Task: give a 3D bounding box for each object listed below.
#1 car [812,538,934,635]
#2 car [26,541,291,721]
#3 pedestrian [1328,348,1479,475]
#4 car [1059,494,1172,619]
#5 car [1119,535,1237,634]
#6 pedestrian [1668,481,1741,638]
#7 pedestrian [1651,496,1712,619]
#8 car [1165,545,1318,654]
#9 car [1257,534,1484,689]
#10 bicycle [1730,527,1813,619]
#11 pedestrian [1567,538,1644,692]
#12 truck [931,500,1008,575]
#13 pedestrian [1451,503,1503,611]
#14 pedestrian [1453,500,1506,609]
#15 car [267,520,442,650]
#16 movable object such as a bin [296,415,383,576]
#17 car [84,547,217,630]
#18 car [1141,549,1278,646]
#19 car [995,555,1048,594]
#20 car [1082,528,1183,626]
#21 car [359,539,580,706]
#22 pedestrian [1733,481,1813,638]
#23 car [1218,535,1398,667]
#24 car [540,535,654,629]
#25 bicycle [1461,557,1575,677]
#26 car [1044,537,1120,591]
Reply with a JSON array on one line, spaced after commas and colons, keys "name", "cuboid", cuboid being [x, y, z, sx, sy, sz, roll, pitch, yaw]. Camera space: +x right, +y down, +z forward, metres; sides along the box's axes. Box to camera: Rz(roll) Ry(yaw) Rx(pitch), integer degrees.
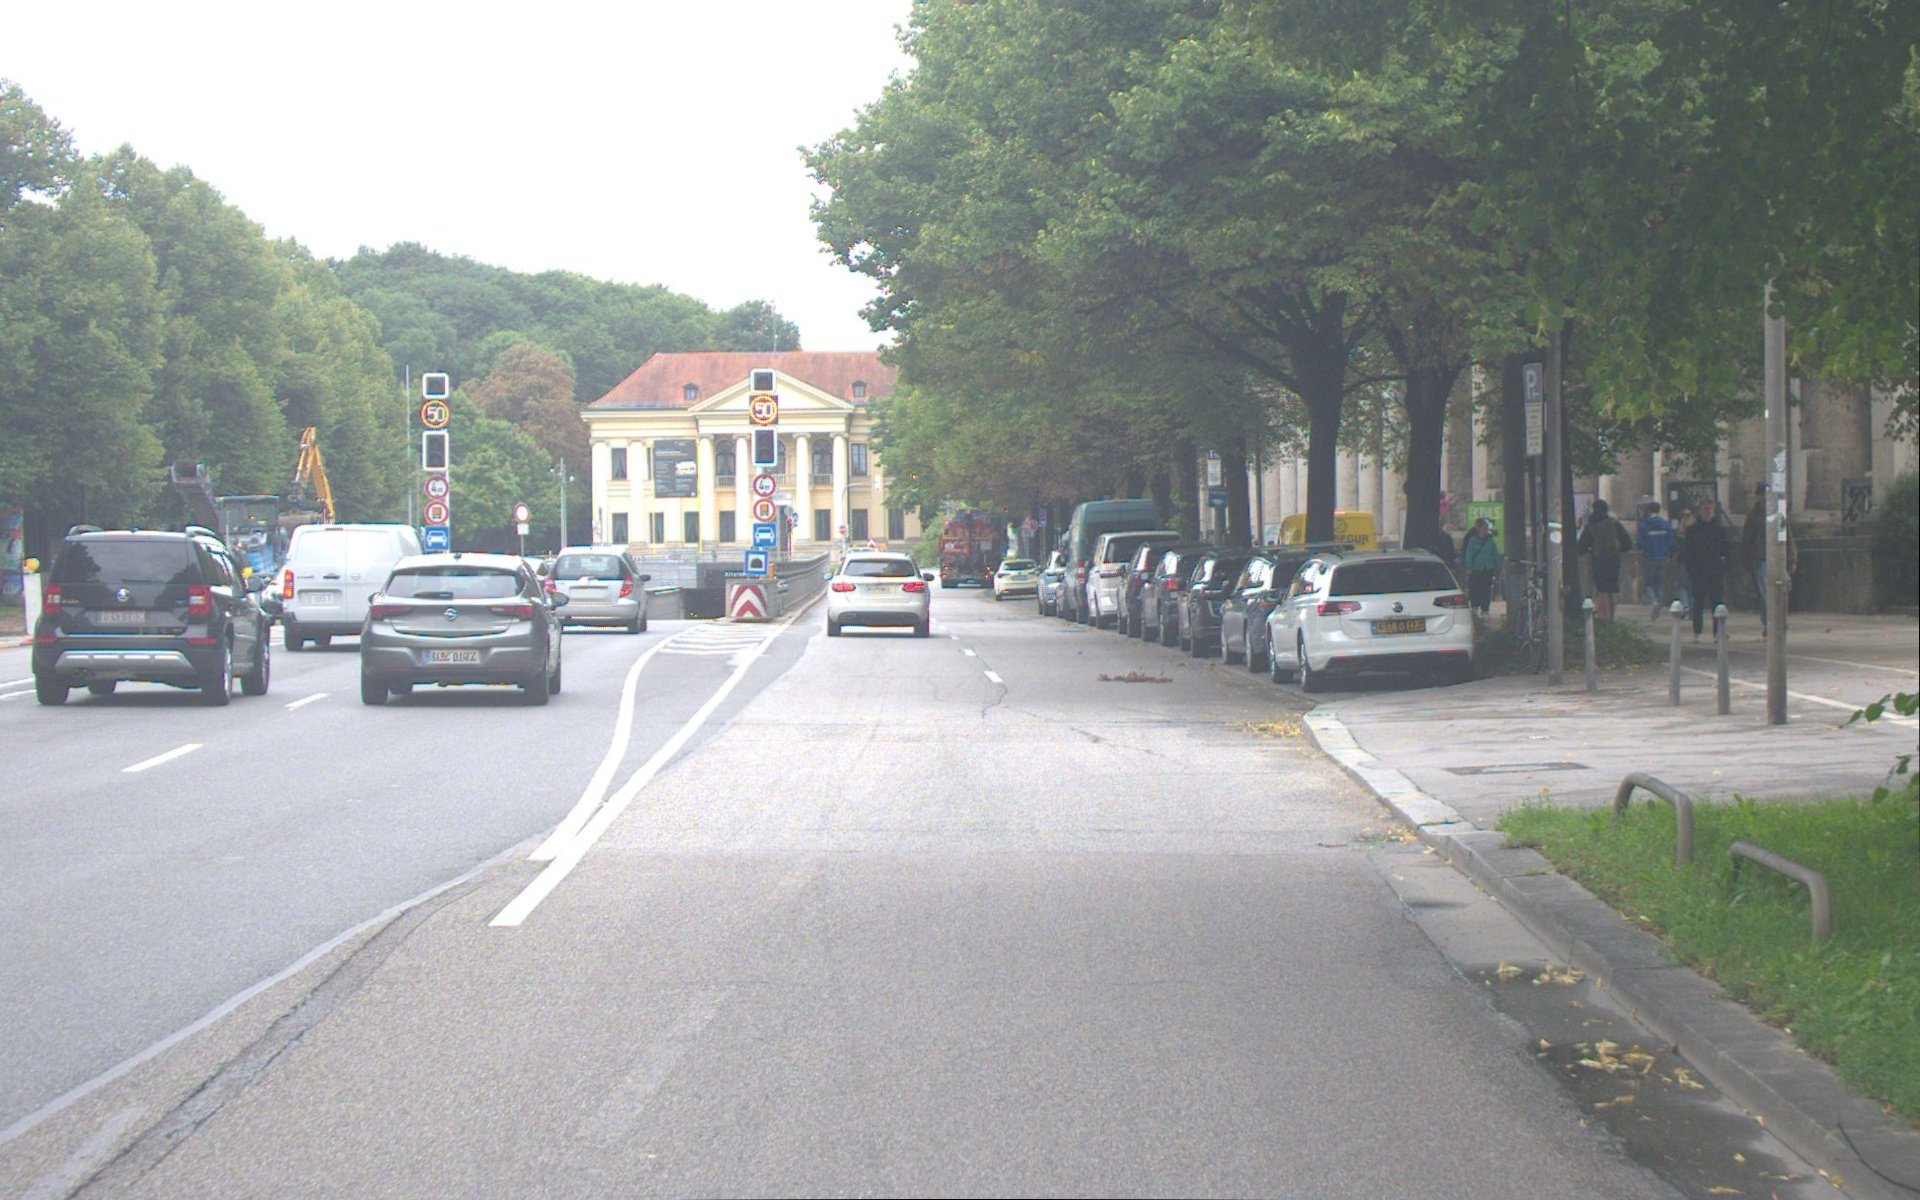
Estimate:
[{"name": "car", "cuboid": [-1.565, -0.268, 60.527, 1.779, 1.639, 4.001, 1, 1, -6]}, {"name": "car", "cuboid": [-7.769, 0.260, 33.690, 1.722, 1.631, 4.205, -1, 1, -2]}, {"name": "pedestrian", "cuboid": [7.627, -3.223, 59.468, 1.993, 2.007, 4.000, 1, 1, -1]}, {"name": "car", "cuboid": [3.377, -0.972, 75.522, 1.993, 2.634, 4.878, 1, 1, -3]}, {"name": "car", "cuboid": [3.831, -0.300, 60.982, 1.724, 1.659, 4.590, -1, 1, -1]}, {"name": "pedestrian", "cuboid": [9.145, -0.497, 42.242, 0.699, 1.903, 0.771, 1, 1, -1]}, {"name": "pedestrian", "cuboid": [11.373, -0.671, 54.199, 0.779, 1.903, 0.771, 1, 1, -1]}, {"name": "car", "cuboid": [4.003, -0.044, 49.503, 1.724, 1.459, 4.776, -1, 1, -1]}, {"name": "car", "cuboid": [4.408, 0.083, 37.526, 1.827, 1.544, 4.752, -1, 1, -1]}, {"name": "bicycle", "cuboid": [12.897, -0.438, 54.693, 0.699, 1.410, 2.299, -1, 1, -1]}, {"name": "pedestrian", "cuboid": [8.071, 0.185, 43.003, 0.779, 1.903, 0.771, 1, 1, -1]}, {"name": "truck", "cuboid": [0.406, -2.889, 159.612, 3.325, 3.355, 8.663, 1, 1, -1]}, {"name": "pedestrian", "cuboid": [9.240, -0.767, 61.496, 0.779, 1.903, 0.771, 1, 1, -1]}, {"name": "pedestrian", "cuboid": [9.167, -0.803, 60.653, 0.779, 1.903, 0.771, 1, 1, -1]}, {"name": "car", "cuboid": [-9.101, -0.243, 52.020, 1.898, 1.841, 4.956, -1, 1, -2]}, {"name": "movable object such as a bin", "cuboid": [-25.621, -4.295, 142.077, 2.699, 6.488, 5.176, 1, 1, -1]}, {"name": "car", "cuboid": [-16.396, -0.258, 69.793, 1.993, 1.590, 4.001, -1, 1, -4]}, {"name": "car", "cuboid": [3.954, -0.063, 55.078, 1.822, 1.459, 4.028, -1, 1, -1]}, {"name": "car", "cuboid": [2.167, -0.918, 122.346, 1.724, 1.319, 4.028, -1, 1, -1]}, {"name": "car", "cuboid": [3.404, -0.473, 68.415, 1.724, 1.861, 4.028, -1, 1, -1]}, {"name": "car", "cuboid": [-4.818, 0.176, 34.205, 1.710, 1.546, 4.000, 1, 1, -1]}, {"name": "pedestrian", "cuboid": [9.973, -0.502, 42.177, 0.764, 1.903, 0.771, 1, 1, -1]}, {"name": "car", "cuboid": [4.336, -0.021, 43.370, 1.724, 1.544, 4.586, -1, 1, -1]}, {"name": "car", "cuboid": [-6.598, -0.355, 62.804, 1.779, 1.648, 4.000, 1, 1, -2]}, {"name": "bicycle", "cuboid": [5.949, 0.160, 36.782, 0.628, 1.227, 2.619, 1, 1, -3]}, {"name": "car", "cuboid": [3.085, -0.931, 87.520, 1.724, 1.319, 4.028, -1, 1, -1]}]
